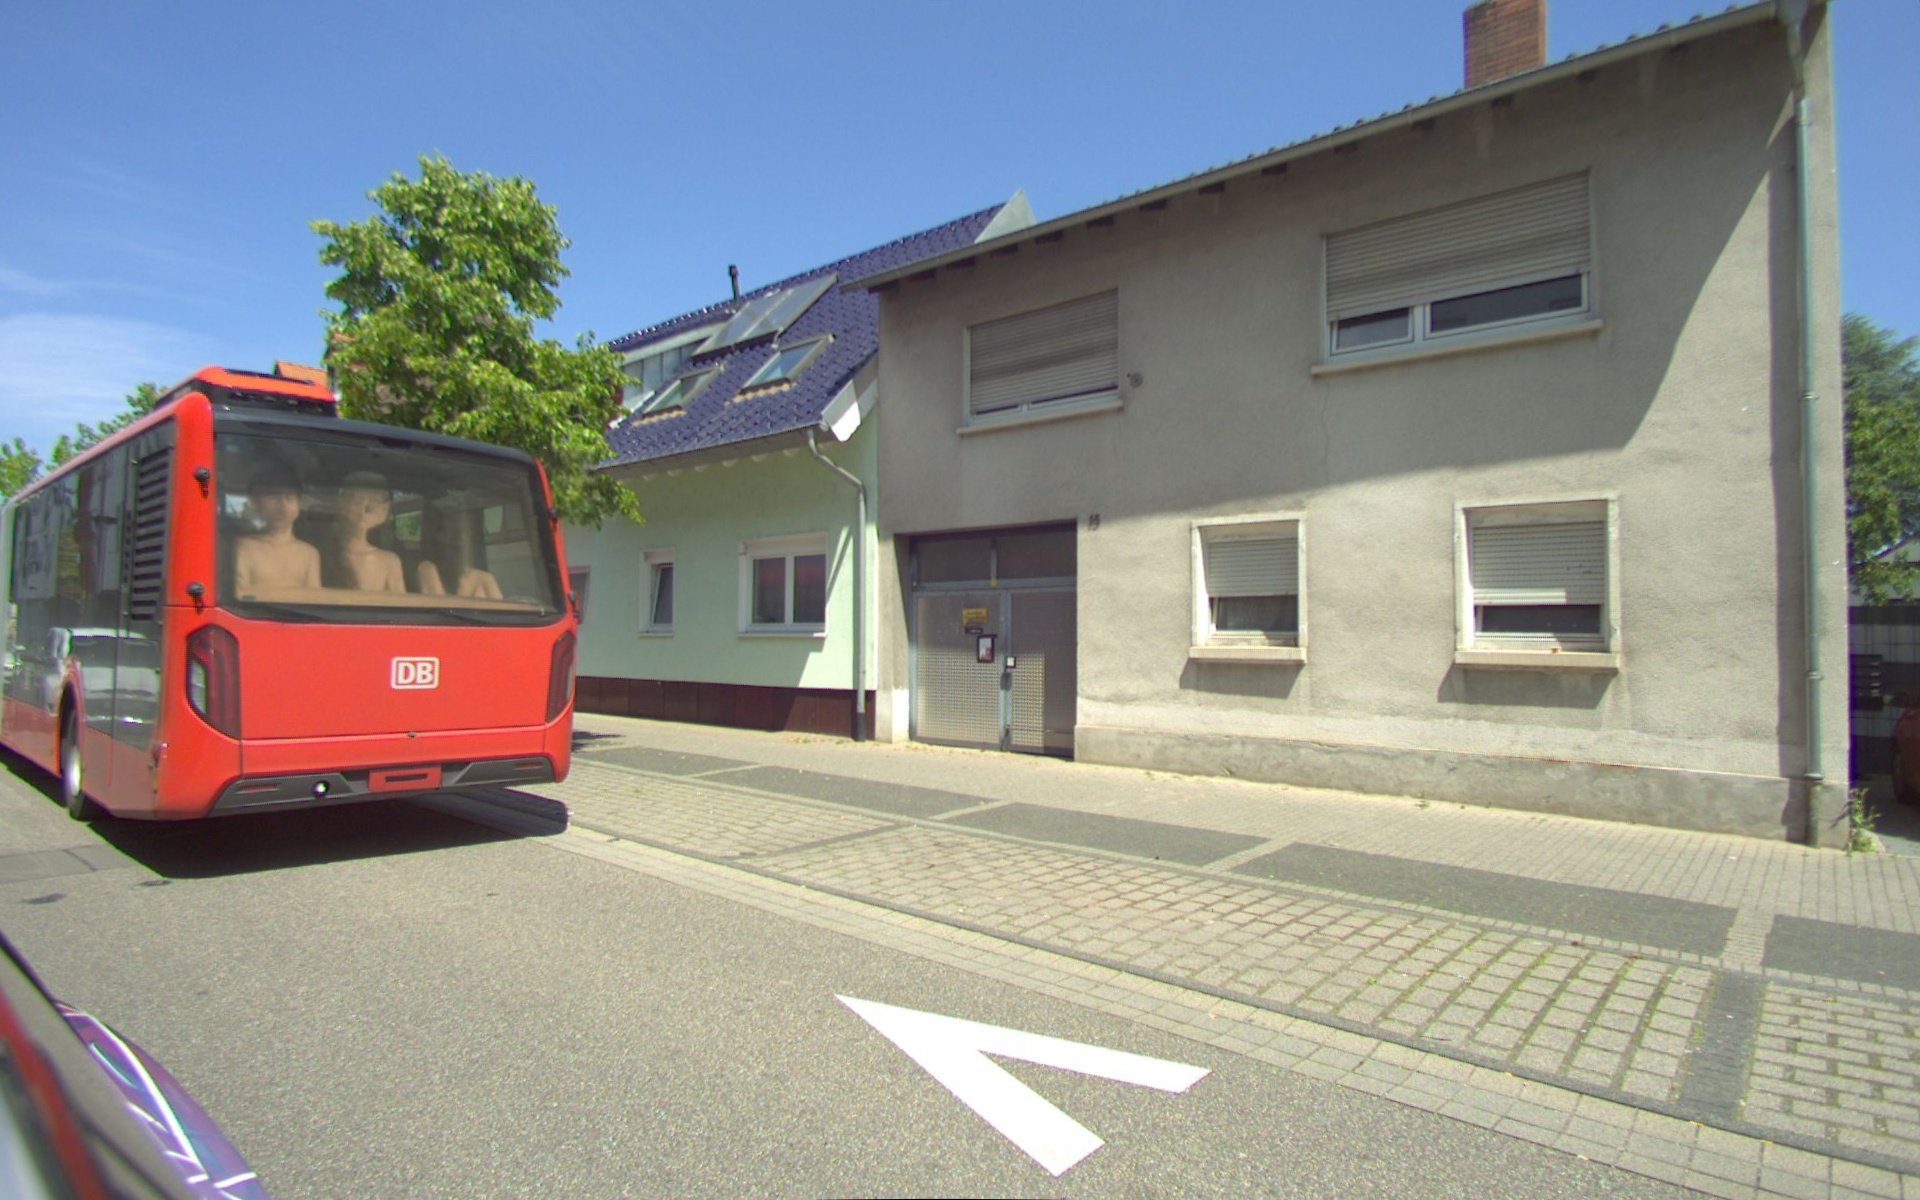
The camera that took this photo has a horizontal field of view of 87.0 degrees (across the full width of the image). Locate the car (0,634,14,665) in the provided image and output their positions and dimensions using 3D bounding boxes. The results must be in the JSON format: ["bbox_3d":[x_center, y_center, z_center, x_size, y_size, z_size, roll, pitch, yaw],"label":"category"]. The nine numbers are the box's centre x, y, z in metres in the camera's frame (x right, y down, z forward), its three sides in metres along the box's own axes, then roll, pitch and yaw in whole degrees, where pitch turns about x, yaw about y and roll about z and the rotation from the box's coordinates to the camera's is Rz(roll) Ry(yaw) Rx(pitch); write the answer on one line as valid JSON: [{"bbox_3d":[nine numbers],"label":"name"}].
[{"bbox_3d":[-45.383,2.283,47.032,4.156,1.418,1.638,-2,-3,42],"label":"car"}]

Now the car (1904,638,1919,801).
[{"bbox_3d":[8.624,1.014,7.766,1.584,1.454,3.086,-2,-3,36],"label":"car"}]

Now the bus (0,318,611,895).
[{"bbox_3d":[-10.183,0.279,12.398,17.798,3.148,2.641,-2,-4,41],"label":"bus"}]
